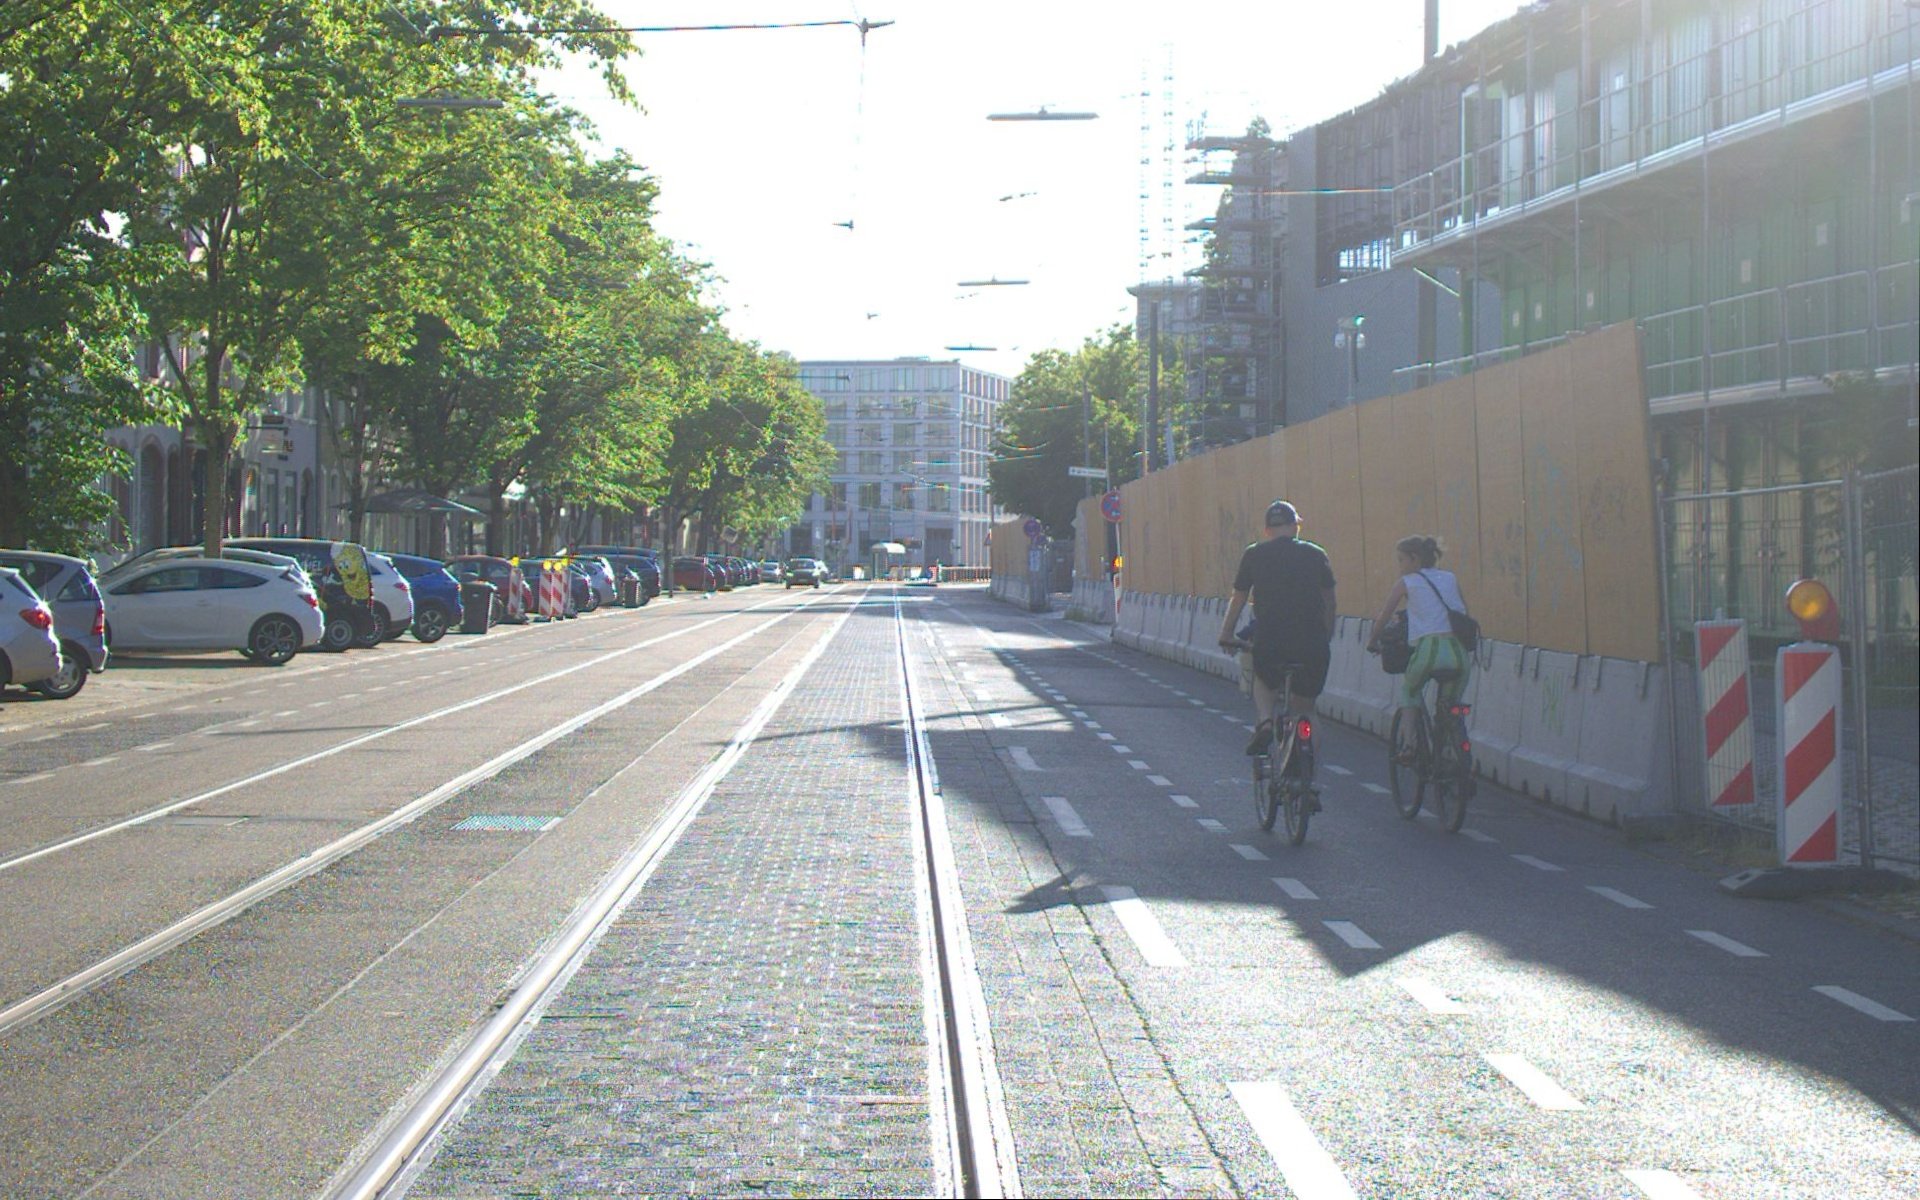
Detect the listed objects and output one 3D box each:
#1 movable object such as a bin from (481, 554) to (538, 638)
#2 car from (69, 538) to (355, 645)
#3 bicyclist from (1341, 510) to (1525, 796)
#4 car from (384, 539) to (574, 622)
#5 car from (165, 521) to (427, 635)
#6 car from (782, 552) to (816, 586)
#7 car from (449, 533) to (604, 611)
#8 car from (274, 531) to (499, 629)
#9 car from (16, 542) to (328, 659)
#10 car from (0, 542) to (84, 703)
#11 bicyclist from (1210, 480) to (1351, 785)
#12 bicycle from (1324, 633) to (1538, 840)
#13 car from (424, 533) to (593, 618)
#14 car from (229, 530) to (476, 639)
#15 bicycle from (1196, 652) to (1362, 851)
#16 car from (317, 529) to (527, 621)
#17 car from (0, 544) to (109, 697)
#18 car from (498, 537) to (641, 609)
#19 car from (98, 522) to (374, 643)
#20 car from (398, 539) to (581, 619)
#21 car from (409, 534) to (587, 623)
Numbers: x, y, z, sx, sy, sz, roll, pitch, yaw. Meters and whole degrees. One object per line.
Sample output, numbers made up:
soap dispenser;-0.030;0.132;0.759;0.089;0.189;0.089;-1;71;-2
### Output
movable object such as a bin;-9.269;-0.078;70.745;0.901;1.662;0.765;3;0;-23
car;-11.749;-0.134;53.974;4.085;1.448;1.829;3;0;-21
bicyclist;2.808;0.300;20.512;0.893;1.634;1.100;2;1;-1
car;-11.494;-0.463;82.131;4.085;1.748;1.829;3;0;-23
car;-11.528;-0.380;59.690;4.085;1.748;1.829;3;0;-23
car;-8.966;-1.724;191.423;1.680;1.831;3.873;3;0;-5
car;-12.765;-0.826;101.143;4.085;2.047;1.829;3;0;-23
car;-11.604;-0.411;69.515;4.085;1.748;1.829;3;0;-23
car;-11.308;0.006;49.307;4.085;1.448;1.829;3;0;-21
car;-11.267;0.126;35.422;4.086;1.602;1.829;3;0;-8
bicyclist;1.772;0.173;19.102;0.680;1.652;0.812;0;0;-2
bicycle;2.791;0.782;20.644;0.893;1.089;2.430;2;1;-1
car;-12.170;-0.669;92.643;4.085;2.047;1.829;3;0;-23
car;-11.134;-0.285;62.998;4.085;1.748;1.829;3;0;-23
bicycle;1.764;0.821;19.262;0.680;1.015;1.922;0;0;-2
car;-11.616;-0.538;74.212;4.085;1.748;1.829;3;0;-23
car;-11.623;0.132;37.954;4.086;1.602;1.829;3;0;-8
car;-12.466;-0.861;109.737;4.085;2.047;1.829;3;0;-23
car;-11.903;-0.285;56.546;4.085;1.748;1.829;3;0;-23
car;-11.706;-0.518;85.473;4.085;1.748;1.829;3;0;-23
car;-11.880;-0.555;88.408;4.085;2.047;1.829;3;0;-23
